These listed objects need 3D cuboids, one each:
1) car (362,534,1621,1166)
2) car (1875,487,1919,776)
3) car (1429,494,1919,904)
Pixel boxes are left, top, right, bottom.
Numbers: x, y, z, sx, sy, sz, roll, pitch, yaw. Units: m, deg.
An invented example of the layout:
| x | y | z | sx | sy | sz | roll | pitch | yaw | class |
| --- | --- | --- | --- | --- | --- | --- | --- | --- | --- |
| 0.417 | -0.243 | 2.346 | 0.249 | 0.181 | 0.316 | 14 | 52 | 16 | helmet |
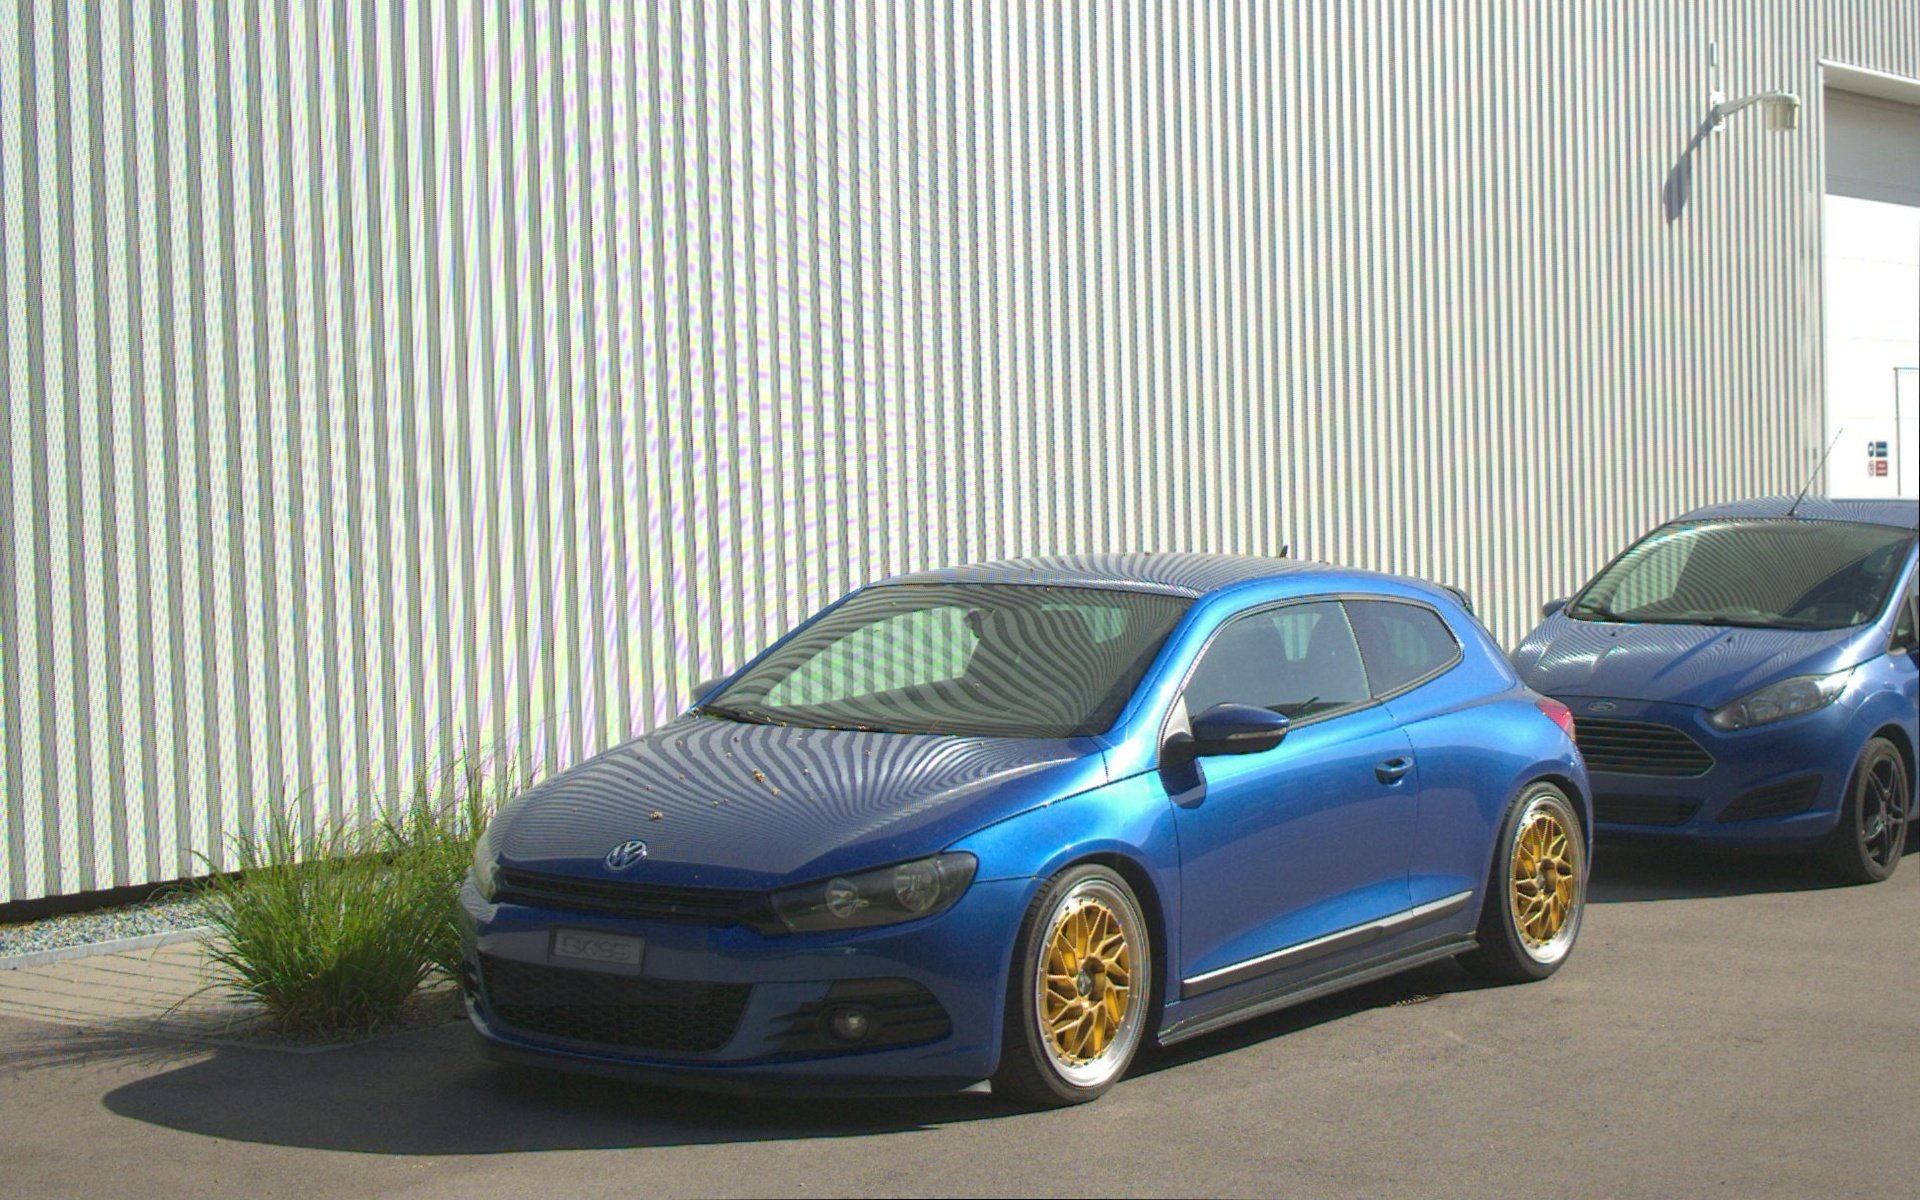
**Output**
| x | y | z | sx | sy | sz | roll | pitch | yaw | class |
| --- | --- | --- | --- | --- | --- | --- | --- | --- | --- |
| 0.292 | 0.540 | 10.029 | 1.672 | 1.345 | 3.946 | 2 | 3 | 36 | car |
| 6.491 | 0.130 | 18.445 | 1.654 | 1.441 | 3.870 | 4 | 4 | 37 | car |
| 3.595 | 0.301 | 14.533 | 1.623 | 1.442 | 3.757 | 1 | 3 | 36 | car |
